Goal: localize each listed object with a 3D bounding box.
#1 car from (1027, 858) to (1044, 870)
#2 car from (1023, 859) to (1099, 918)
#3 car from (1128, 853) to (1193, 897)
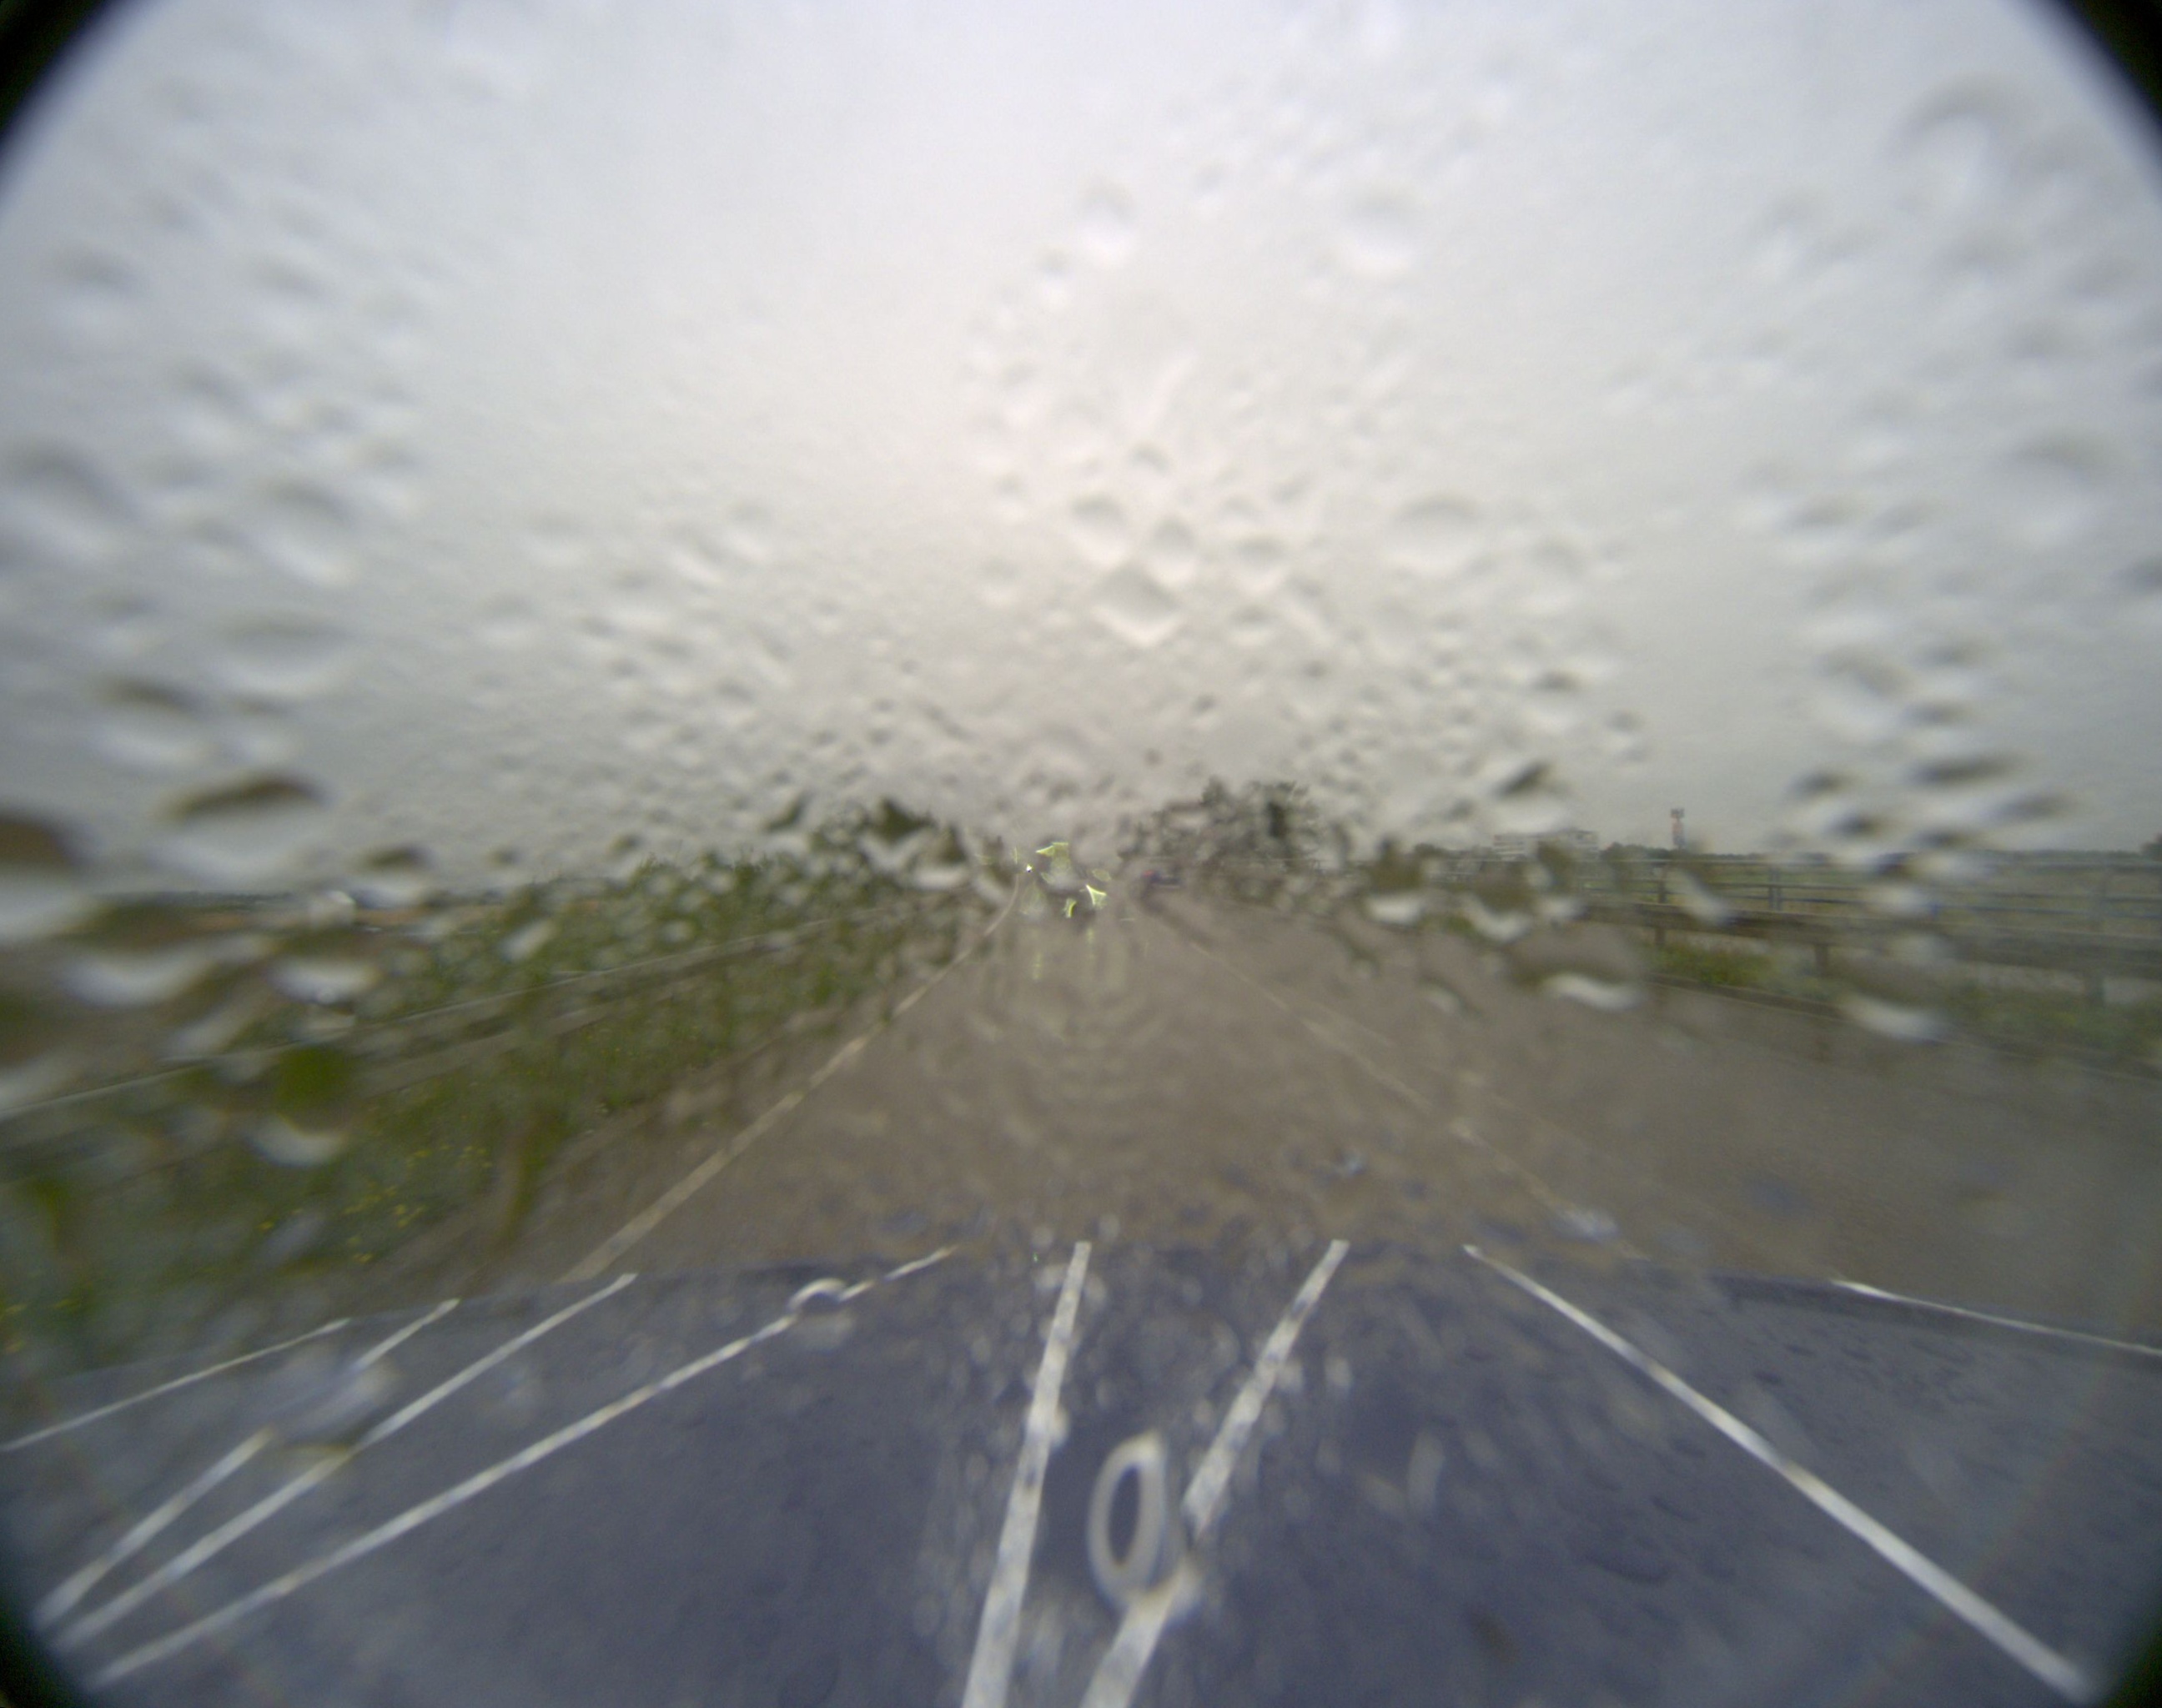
[{"bbox_3d":[-5.325,1.140,89.296,1.910,1.361,4.563,-2,0,-4],"label":"car"},{"bbox_3d":[-0.541,0.896,21.545,1.909,1.361,4.564,-1,1,-1],"label":"car"},{"bbox_3d":[2.885,0.730,28.479,1.785,1.517,4.167,-1,0,-3],"label":"car"}]
